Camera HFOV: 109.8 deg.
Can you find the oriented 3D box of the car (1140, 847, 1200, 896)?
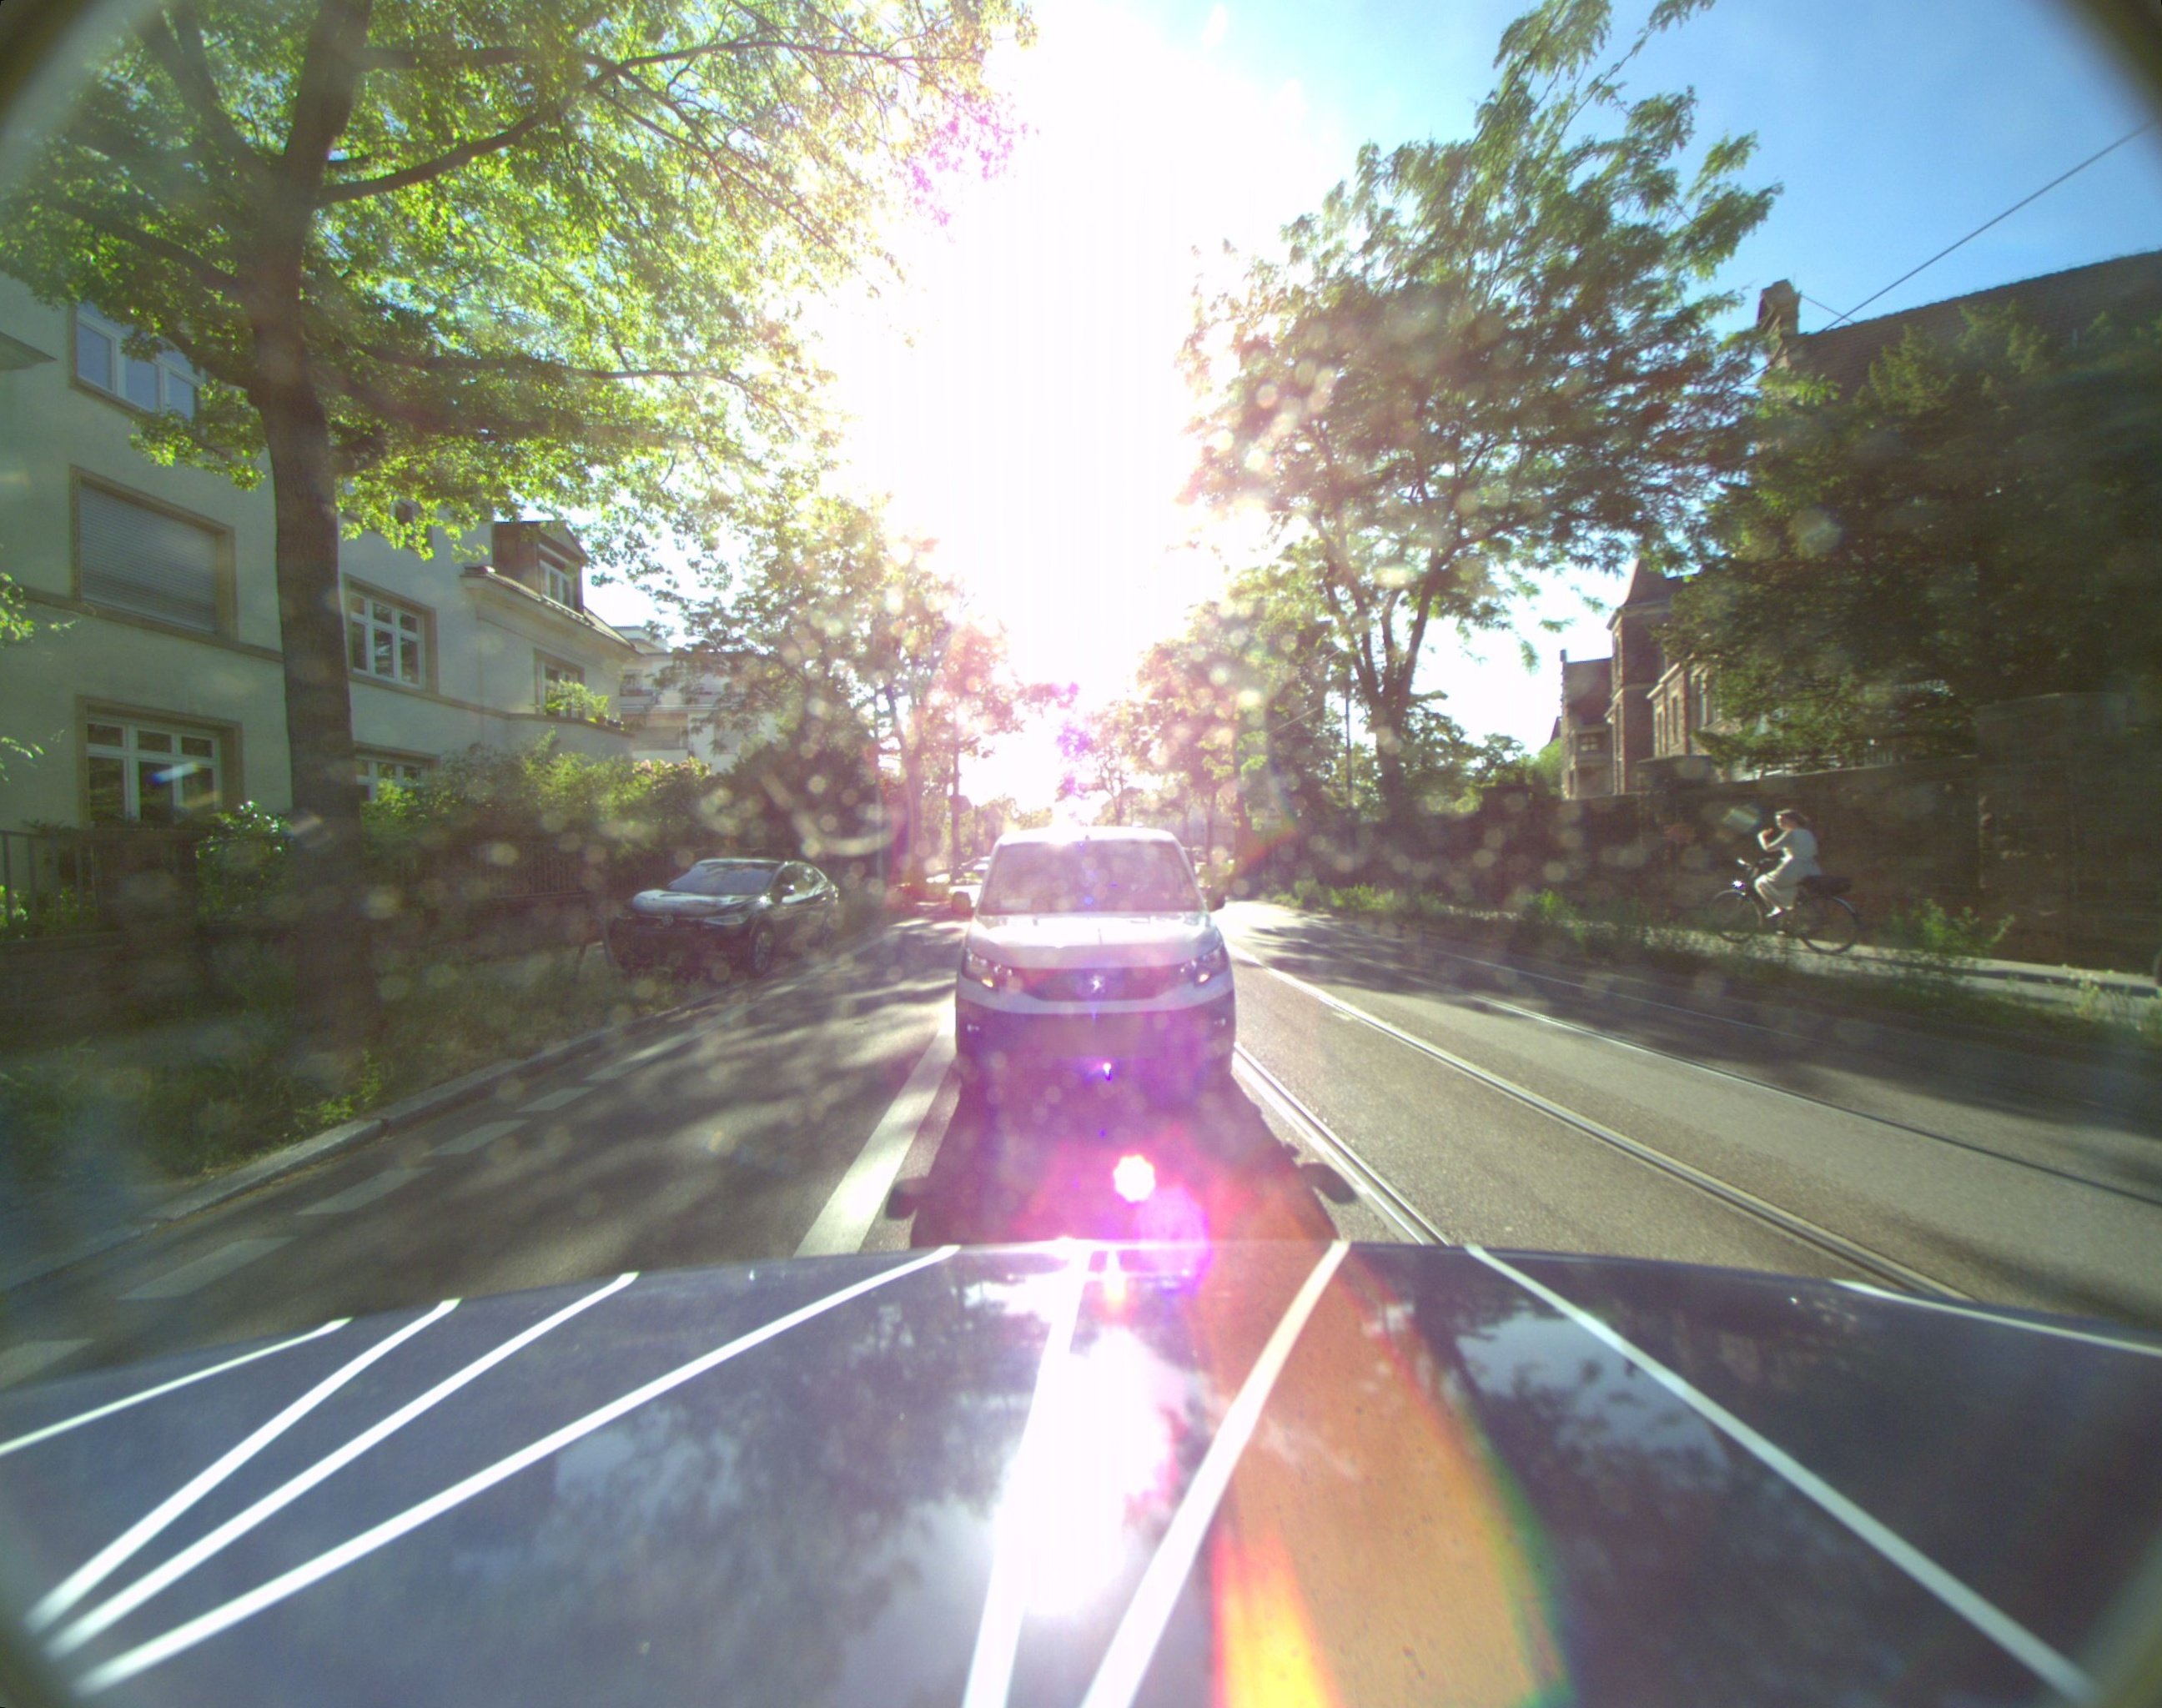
[{"bbox_3d":[3.476,0.636,30.401,1.832,1.800,3.999,-1,1,-1],"label":"car"}]

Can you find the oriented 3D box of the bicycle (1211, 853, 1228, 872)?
[{"bbox_3d":[8.362,0.484,45.938,0.684,1.106,1.736,-2,1,1],"label":"bicycle"}]

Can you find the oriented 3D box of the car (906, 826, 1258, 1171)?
[{"bbox_3d":[-0.025,0.753,6.243,1.832,1.788,4.333,-2,1,-1],"label":"car"}]

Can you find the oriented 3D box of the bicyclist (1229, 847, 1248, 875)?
[{"bbox_3d":[7.434,0.342,35.863,0.684,1.277,0.871,-2,1,1],"label":"bicyclist"}]

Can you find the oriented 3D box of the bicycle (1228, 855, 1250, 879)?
[{"bbox_3d":[7.442,0.599,35.881,0.684,1.072,1.736,-2,1,1],"label":"bicycle"}]

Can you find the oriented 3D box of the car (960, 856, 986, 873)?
[{"bbox_3d":[-10.023,0.985,70.754,1.741,1.434,3.999,-2,1,1],"label":"car"}]

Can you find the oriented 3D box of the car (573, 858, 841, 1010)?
[{"bbox_3d":[-5.264,1.003,11.463,1.999,1.733,4.169,-2,1,-2],"label":"car"}]

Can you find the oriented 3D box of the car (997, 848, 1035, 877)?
[{"bbox_3d":[-4.379,0.535,51.661,1.904,1.819,4.248,-2,1,3],"label":"car"}]

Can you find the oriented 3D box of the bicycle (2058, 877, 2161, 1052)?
[{"bbox_3d":[7.967,0.795,4.845,0.774,1.184,2.102,-2,1,1],"label":"bicycle"}]

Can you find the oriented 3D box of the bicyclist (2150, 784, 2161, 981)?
[{"bbox_3d":[7.940,0.192,4.733,0.768,1.383,1.272,-2,1,1],"label":"bicyclist"}]

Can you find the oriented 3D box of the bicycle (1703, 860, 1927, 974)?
[{"bbox_3d":[8.863,0.693,9.334,0.747,1.184,2.088,-2,1,1],"label":"bicycle"}]

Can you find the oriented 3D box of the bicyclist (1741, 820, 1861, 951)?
[{"bbox_3d":[8.849,0.369,9.371,0.744,1.526,0.751,-2,1,1],"label":"bicyclist"}]

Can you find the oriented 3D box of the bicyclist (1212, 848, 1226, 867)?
[{"bbox_3d":[8.348,0.186,45.956,0.684,1.106,0.694,-2,1,1],"label":"bicyclist"}]

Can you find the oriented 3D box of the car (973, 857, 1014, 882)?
[{"bbox_3d":[-5.165,0.892,45.295,1.719,1.332,3.918,-2,1,3],"label":"car"}]
